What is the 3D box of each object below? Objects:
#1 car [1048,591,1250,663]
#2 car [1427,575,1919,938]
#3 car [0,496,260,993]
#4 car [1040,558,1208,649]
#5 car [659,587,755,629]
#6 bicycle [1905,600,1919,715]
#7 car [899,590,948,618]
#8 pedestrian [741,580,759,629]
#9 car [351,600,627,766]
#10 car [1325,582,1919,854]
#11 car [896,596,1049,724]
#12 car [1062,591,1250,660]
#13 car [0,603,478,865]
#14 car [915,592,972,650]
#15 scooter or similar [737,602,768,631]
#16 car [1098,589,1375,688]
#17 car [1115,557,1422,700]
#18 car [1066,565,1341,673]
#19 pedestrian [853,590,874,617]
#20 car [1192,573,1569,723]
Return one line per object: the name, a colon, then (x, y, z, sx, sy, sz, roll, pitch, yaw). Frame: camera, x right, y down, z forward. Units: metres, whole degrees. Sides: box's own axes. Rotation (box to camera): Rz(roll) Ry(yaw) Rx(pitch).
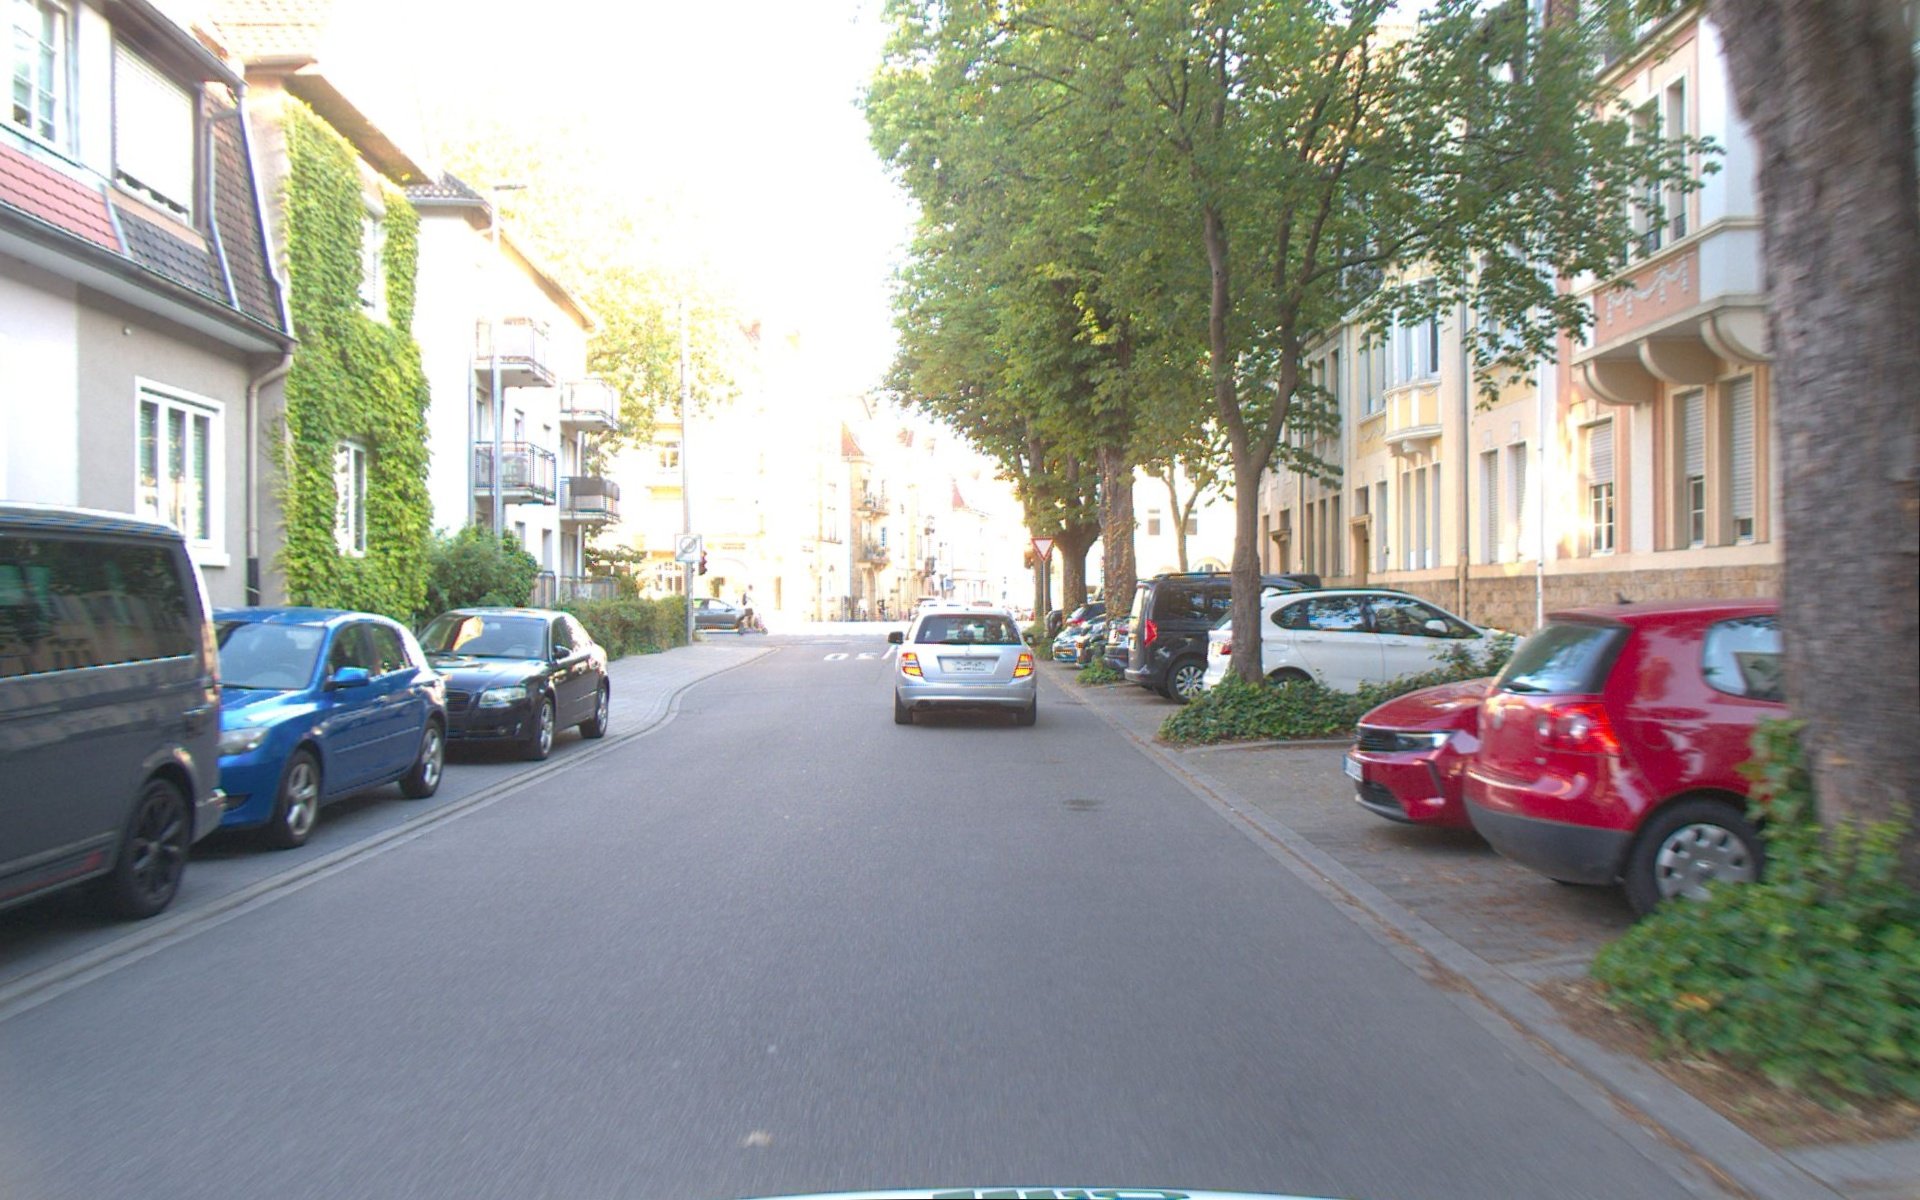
car: (4.153, 0.588, 36.840, 4.202, 1.442, 1.876, -1, 0, -3)
car: (4.600, 0.639, 8.065, 4.103, 1.501, 1.852, -2, 0, 2)
car: (-4.790, 0.560, 6.658, 1.942, 1.981, 4.850, 1, 0, -1)
car: (4.393, 0.086, 44.761, 4.301, 2.405, 1.999, 0, 0, -3)
car: (-10.279, 0.324, 67.318, 3.815, 1.671, 1.751, 0, 0, -9)
bicycle: (9.246, 0.542, 14.680, 0.464, 1.075, 2.045, -2, 0, -1)
car: (-2.199, 0.230, 101.008, 1.951, 1.612, 4.003, 0, 1, 15)
pedestrian: (-8.238, 0.176, 64.983, 0.630, 1.898, 0.409, -2, 0, -4)
car: (-4.781, 0.768, 17.431, 1.660, 1.472, 4.357, 1, 0, 0)
car: (4.689, 0.673, 10.516, 4.320, 1.444, 1.877, -2, 0, 2)
car: (0.150, 0.705, 21.071, 1.747, 1.462, 3.850, 1, 0, 0)
car: (4.600, 0.584, 39.212, 4.202, 1.568, 1.898, 0, 0, -3)
car: (-4.901, 0.800, 11.898, 1.620, 1.472, 4.237, 1, 0, 0)
car: (-0.460, 0.587, 48.162, 1.590, 1.597, 3.680, 0, 1, 0)
scooter or similar: (-8.167, 0.644, 64.990, 1.152, 1.070, 0.409, -2, 0, -5)
car: (4.473, 0.601, 27.161, 4.202, 1.568, 1.876, 0, 0, -3)
car: (4.523, 0.398, 24.660, 4.135, 1.929, 1.904, -2, 0, -3)
car: (4.625, 0.340, 31.919, 4.952, 2.024, 2.071, 0, 0, -3)
pedestrian: (-6.330, 0.221, 108.051, 1.195, 1.752, 1.504, 1, 0, 3)
car: (4.960, 0.552, 19.931, 4.027, 1.599, 1.876, -2, 0, -1)
